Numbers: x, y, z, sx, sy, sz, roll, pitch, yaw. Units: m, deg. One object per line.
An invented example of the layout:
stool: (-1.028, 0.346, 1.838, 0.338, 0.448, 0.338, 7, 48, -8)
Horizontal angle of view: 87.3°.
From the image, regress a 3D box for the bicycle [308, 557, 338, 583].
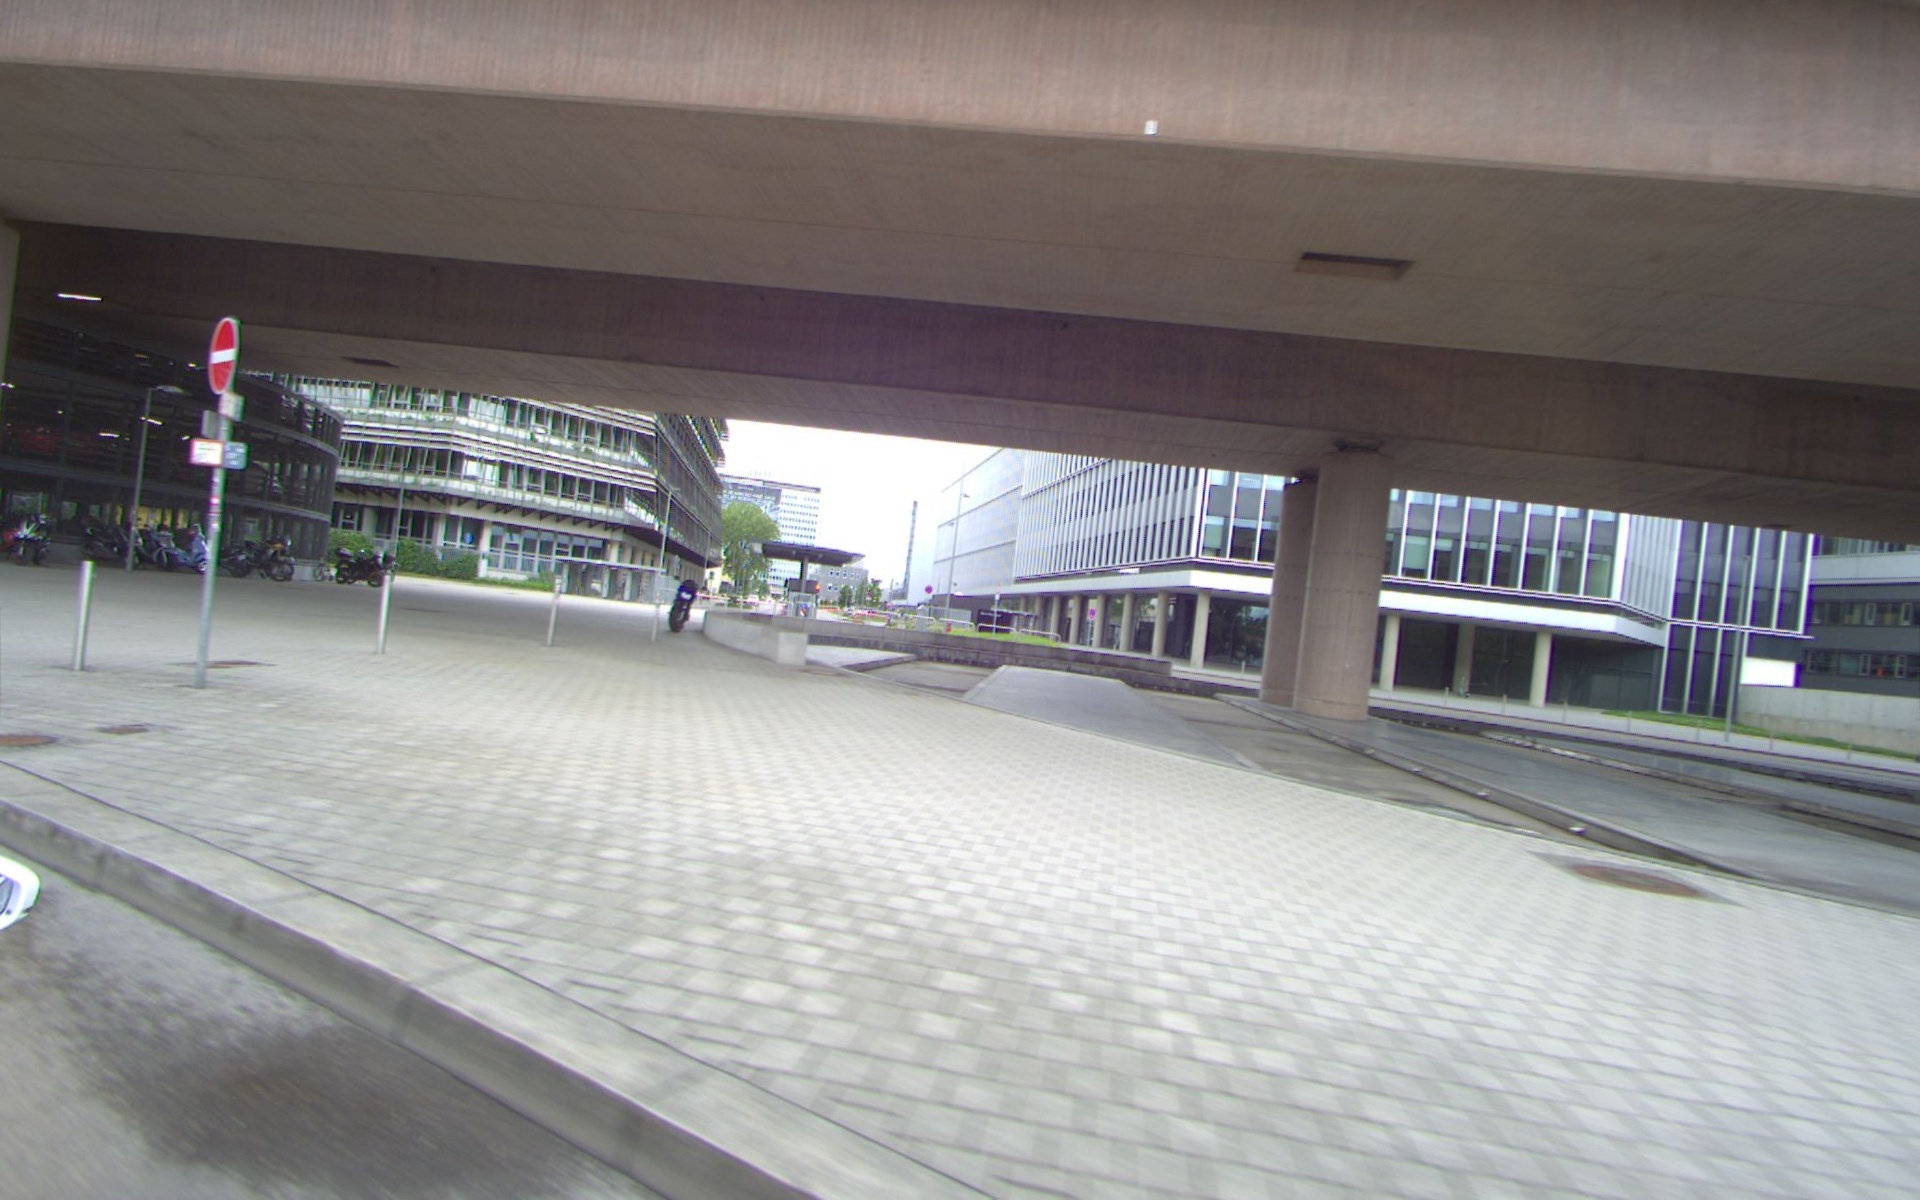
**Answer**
bicycle: (-24.480, -1.140, 38.666, 0.468, 0.906, 1.500, 7, 0, -16)

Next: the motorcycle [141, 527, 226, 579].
motorcycle: (-22.792, -1.385, 29.544, 2.039, 1.235, 0.674, 8, 1, 10)

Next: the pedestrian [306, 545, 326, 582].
pedestrian: (-36.739, -2.092, 57.355, 0.563, 2.037, 0.529, 6, -1, 19)

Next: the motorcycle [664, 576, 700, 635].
motorcycle: (-6.526, 0.110, 23.687, 0.539, 1.280, 1.936, 7, 0, -12)

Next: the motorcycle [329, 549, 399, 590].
motorcycle: (-22.922, -1.185, 38.696, 2.318, 1.235, 0.674, 8, 1, 10)

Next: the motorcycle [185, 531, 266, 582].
motorcycle: (-22.395, -1.317, 30.682, 2.039, 1.235, 0.674, 8, 1, 10)

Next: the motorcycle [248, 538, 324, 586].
motorcycle: (-21.986, -1.237, 32.832, 2.039, 1.235, 0.674, 8, 1, 10)

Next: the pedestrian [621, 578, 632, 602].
pedestrian: (-21.854, -0.684, 65.871, 0.490, 1.499, 0.542, 7, 1, -22)

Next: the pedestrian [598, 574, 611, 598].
pedestrian: (-23.354, -0.904, 66.143, 0.487, 1.499, 0.545, 7, 1, 1)

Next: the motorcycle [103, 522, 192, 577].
motorcycle: (-23.003, -1.425, 28.491, 2.039, 1.235, 0.674, 8, 1, 10)

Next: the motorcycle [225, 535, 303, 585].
motorcycle: (-22.095, -1.262, 31.947, 2.039, 1.302, 0.674, 8, 1, 10)

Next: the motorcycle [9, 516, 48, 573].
motorcycle: (-20.891, -1.233, 22.566, 0.519, 1.184, 1.136, 7, -2, -44)

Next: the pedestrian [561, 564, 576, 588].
pedestrian: (-25.937, -1.602, 66.608, 0.488, 1.499, 0.544, 8, 1, 25)

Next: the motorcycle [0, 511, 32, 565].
motorcycle: (-23.698, -1.560, 24.963, 1.130, 1.235, 0.521, 8, 1, 27)

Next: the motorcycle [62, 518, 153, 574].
motorcycle: (-23.345, -1.483, 27.555, 2.039, 1.235, 0.674, 8, 1, 10)

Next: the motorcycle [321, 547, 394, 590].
motorcycle: (-22.451, -1.169, 37.493, 2.318, 1.291, 0.674, 8, 1, 10)
